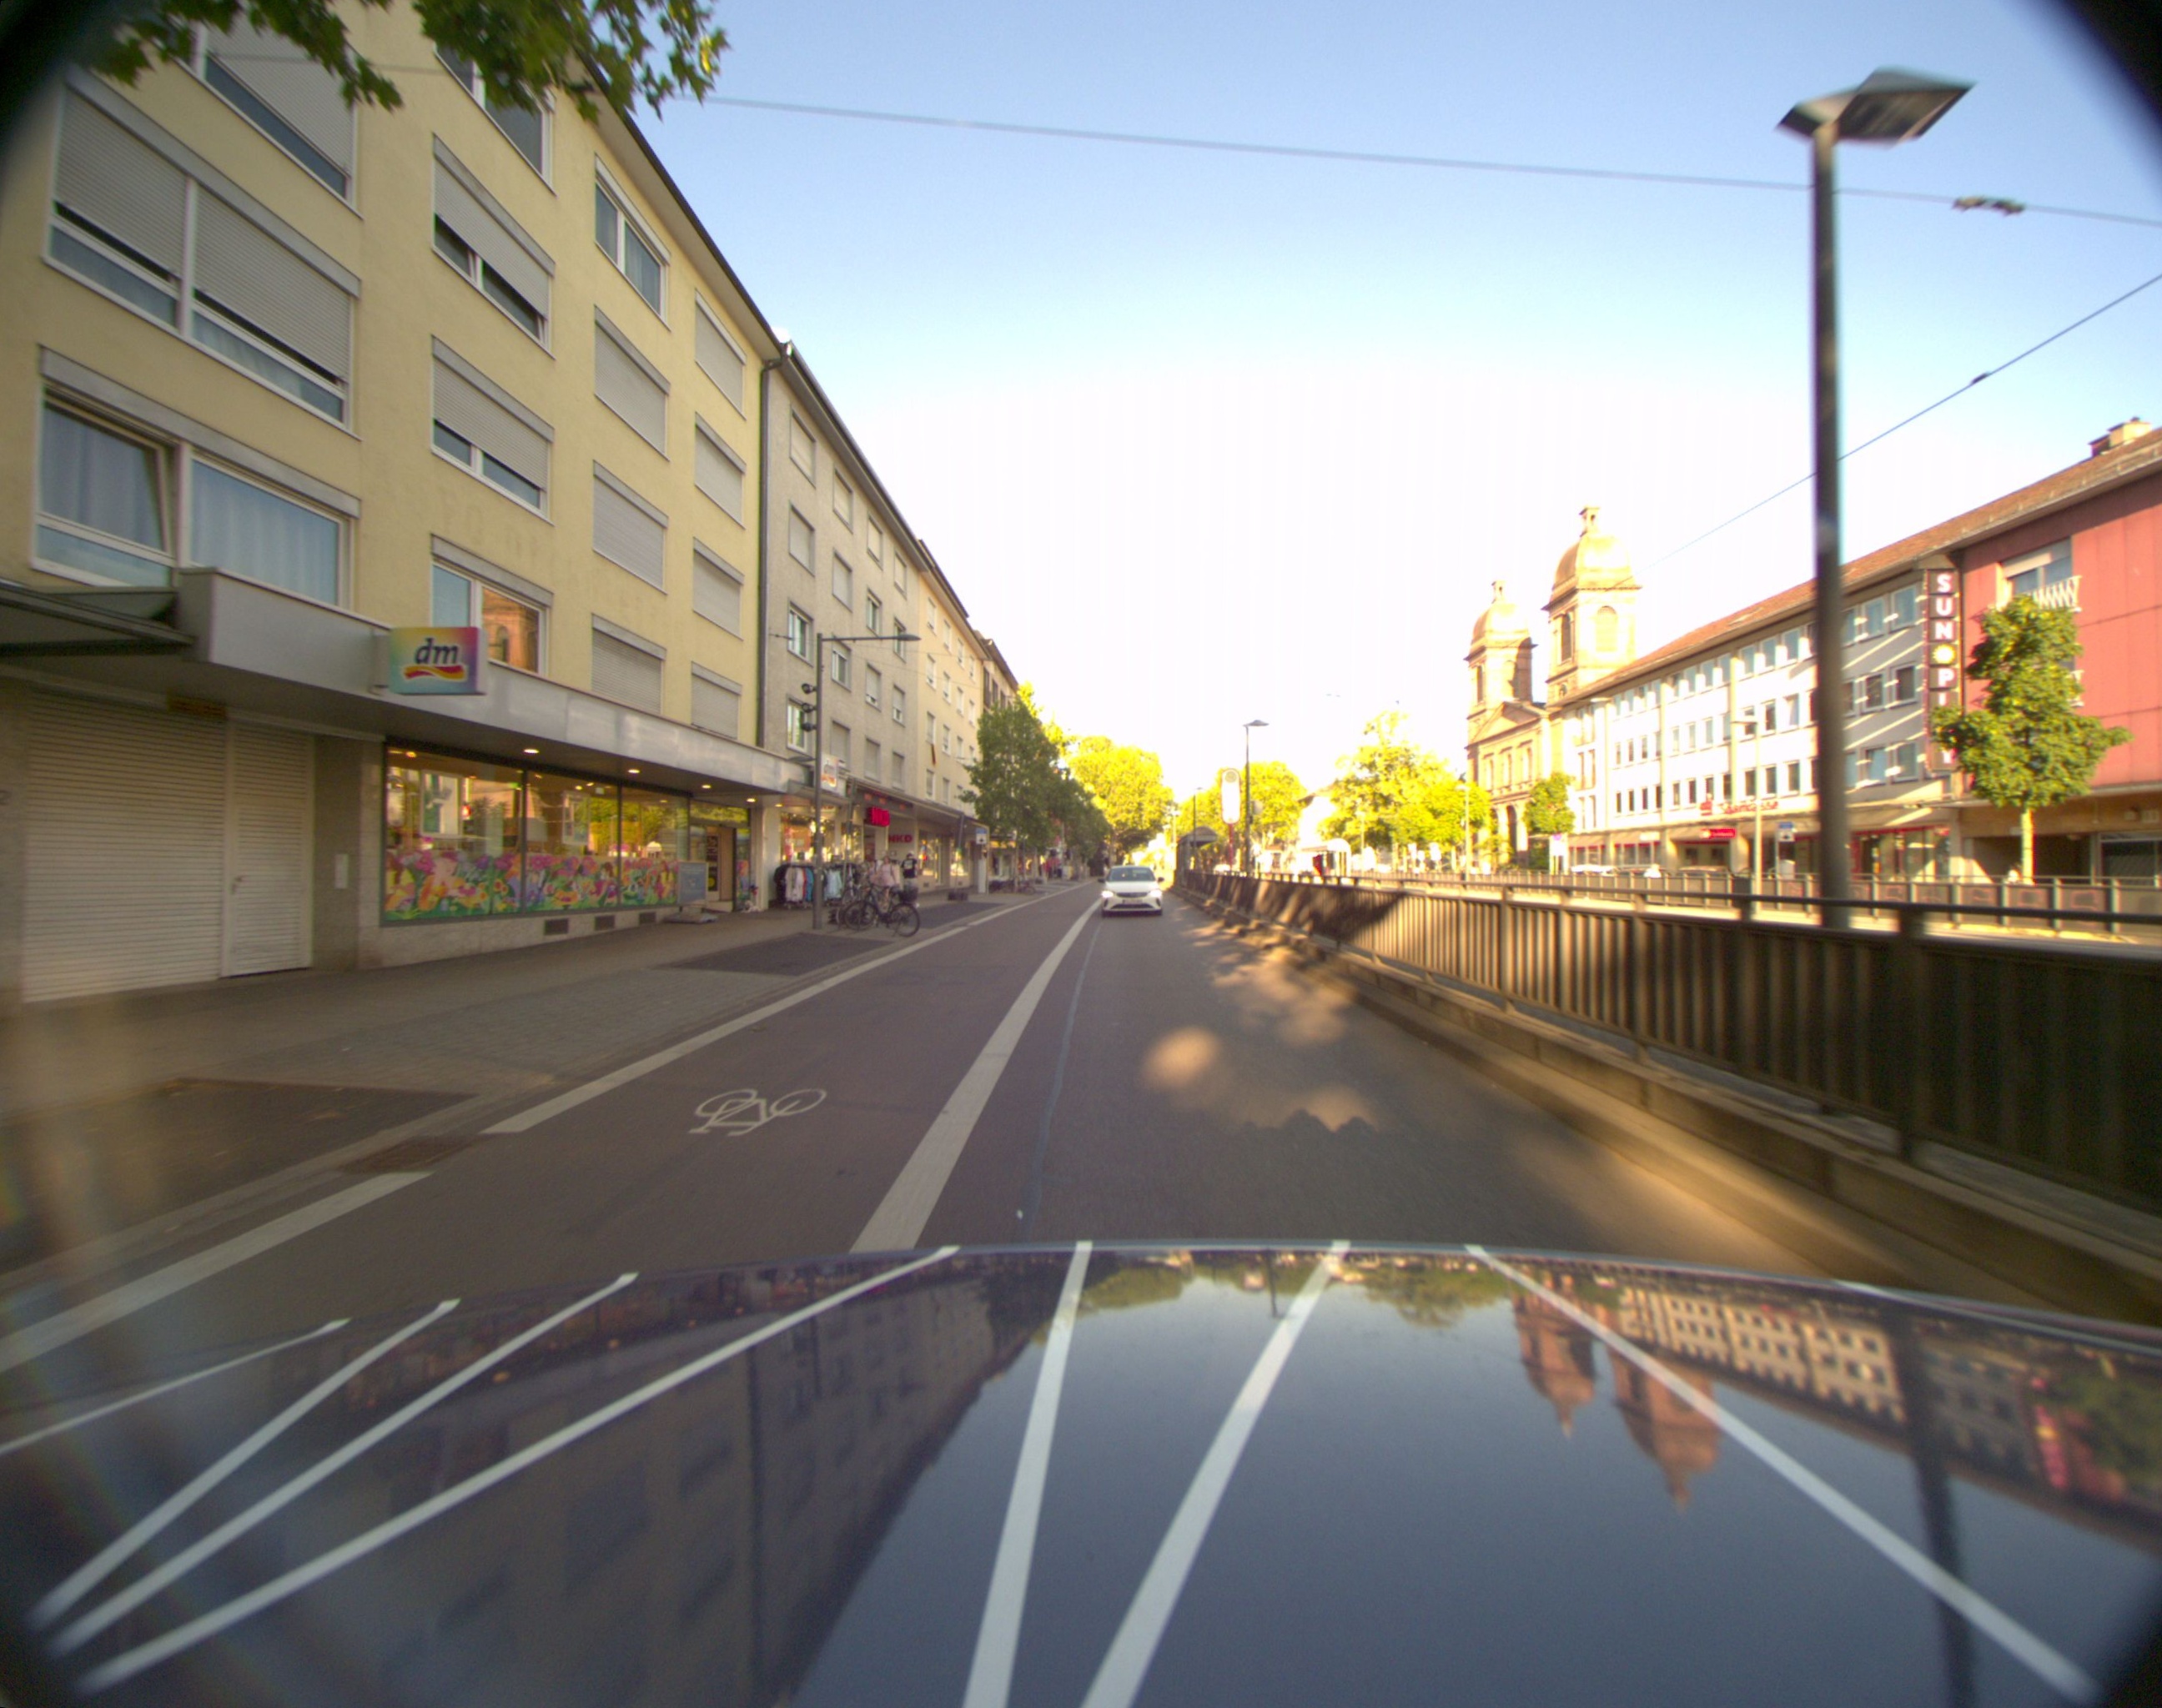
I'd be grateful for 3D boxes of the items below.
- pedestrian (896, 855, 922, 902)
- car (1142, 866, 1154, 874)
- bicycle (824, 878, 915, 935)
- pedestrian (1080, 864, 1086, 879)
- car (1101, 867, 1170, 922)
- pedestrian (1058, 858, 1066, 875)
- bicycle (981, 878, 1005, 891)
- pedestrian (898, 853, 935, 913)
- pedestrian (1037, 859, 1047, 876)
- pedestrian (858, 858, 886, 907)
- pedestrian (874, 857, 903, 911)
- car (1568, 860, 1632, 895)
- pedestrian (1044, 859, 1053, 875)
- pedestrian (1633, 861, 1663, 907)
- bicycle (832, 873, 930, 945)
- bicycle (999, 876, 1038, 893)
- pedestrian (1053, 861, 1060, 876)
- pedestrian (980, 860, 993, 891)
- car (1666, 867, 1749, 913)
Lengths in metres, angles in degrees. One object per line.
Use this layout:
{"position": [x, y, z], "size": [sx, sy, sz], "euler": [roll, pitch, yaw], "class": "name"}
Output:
{"position": [-6.285, 0.868, 27.792], "size": [0.569, 1.665, 1.070], "euler": [2, 0, 4], "class": "pedestrian"}
{"position": [11.955, 2.861, 135.173], "size": [1.718, 1.390, 4.000], "euler": [-2, 0, -1], "class": "car"}
{"position": [-4.681, 1.160, 16.855], "size": [1.795, 1.118, 0.663], "euler": [5, 0, -24], "class": "bicycle"}
{"position": [0.229, 2.041, 88.783], "size": [0.634, 1.644, 0.651], "euler": [-2, 0, 3], "class": "pedestrian"}
{"position": [1.611, 1.131, 22.449], "size": [1.826, 1.433, 3.829], "euler": [-1, -1, 4], "class": "car"}
{"position": [-1.966, 1.313, 80.120], "size": [0.693, 1.665, 0.659], "euler": [2, 0, 4], "class": "pedestrian"}
{"position": [-4.339, 1.503, 37.393], "size": [0.840, 0.569, 1.758], "euler": [1, -1, -19], "class": "bicycle"}
{"position": [-5.088, 0.882, 23.569], "size": [0.775, 1.789, 0.931], "euler": [3, 0, 5], "class": "pedestrian"}
{"position": [-3.759, 1.287, 73.777], "size": [0.851, 1.644, 0.916], "euler": [-2, 0, 3], "class": "pedestrian"}
{"position": [-6.596, 0.893, 24.029], "size": [0.542, 1.493, 0.896], "euler": [2, -1, 4], "class": "pedestrian"}
{"position": [-5.902, 0.911, 23.328], "size": [0.547, 1.619, 0.896], "euler": [2, -1, 4], "class": "pedestrian"}
{"position": [25.028, 1.122, 36.587], "size": [4.008, 1.477, 1.739], "euler": [-2, 0, -44], "class": "car"}
{"position": [-3.456, 1.345, 80.941], "size": [0.851, 1.644, 0.916], "euler": [-2, 0, 3], "class": "pedestrian"}
{"position": [22.758, 1.194, 30.516], "size": [0.726, 1.777, 0.766], "euler": [-2, 0, -39], "class": "pedestrian"}
{"position": [-4.164, 1.119, 15.844], "size": [1.789, 1.304, 0.694], "euler": [5, 0, 15], "class": "bicycle"}
{"position": [-3.072, 1.500, 37.295], "size": [1.762, 0.773, 0.702], "euler": [1, -1, -19], "class": "bicycle"}
{"position": [-2.785, 1.686, 87.054], "size": [0.634, 1.644, 0.651], "euler": [-2, 0, 3], "class": "pedestrian"}
{"position": [-4.908, 1.104, 39.503], "size": [0.490, 1.558, 0.648], "euler": [2, 0, 5], "class": "pedestrian"}
{"position": [24.413, 1.341, 29.556], "size": [4.008, 1.521, 1.865], "euler": [-2, 0, -42], "class": "car"}
